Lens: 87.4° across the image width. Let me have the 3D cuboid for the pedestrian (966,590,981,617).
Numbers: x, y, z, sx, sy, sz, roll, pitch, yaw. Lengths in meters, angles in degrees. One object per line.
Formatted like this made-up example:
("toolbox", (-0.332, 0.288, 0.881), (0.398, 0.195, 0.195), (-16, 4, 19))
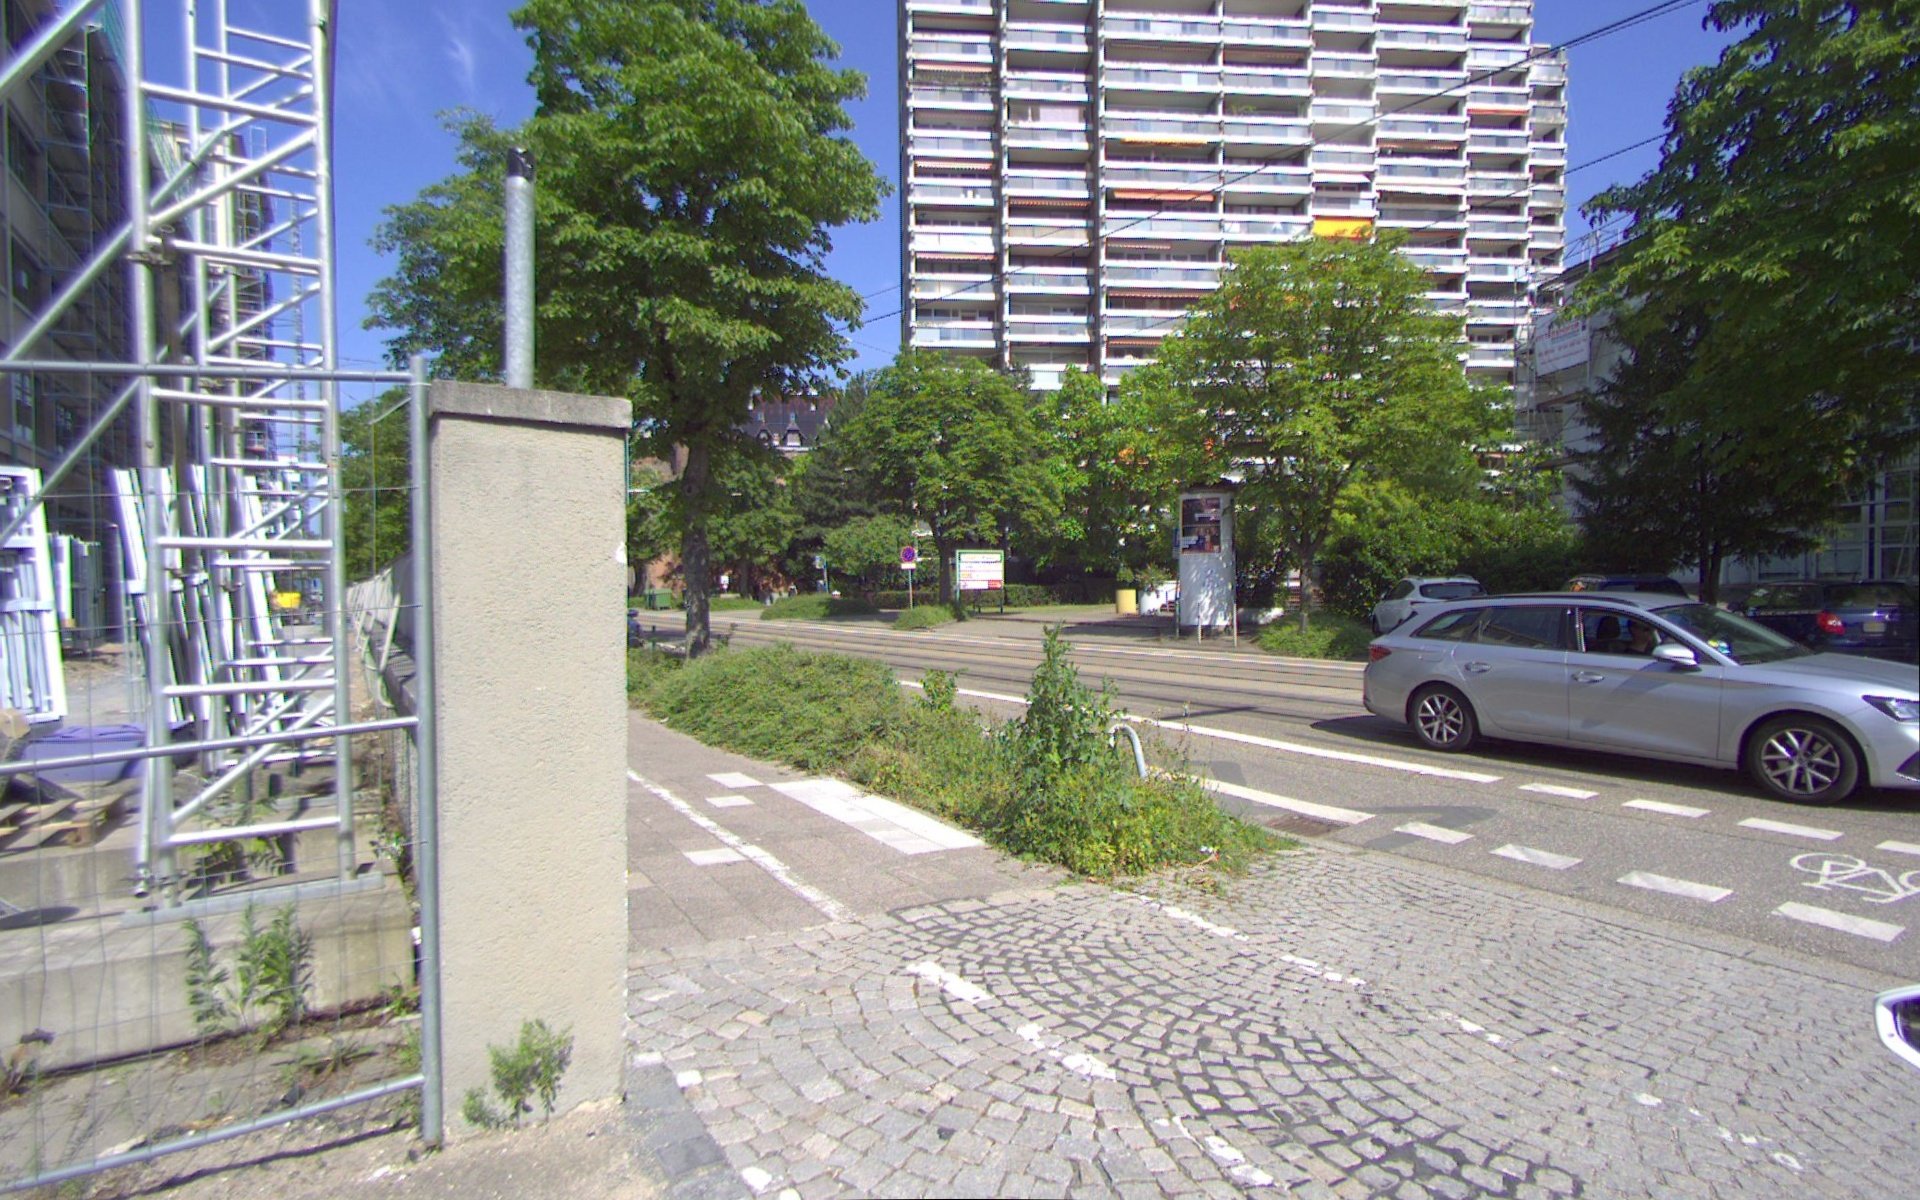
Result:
("pedestrian", (0.605, 0.136, 44.608), (0.525, 1.170, 0.700), (-1, 1, -10))

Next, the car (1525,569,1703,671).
("car", (12.070, 0.293, 18.833), (1.745, 1.644, 3.945), (-1, 2, 17))

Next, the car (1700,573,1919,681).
("car", (13.710, 0.365, 16.220), (1.544, 1.551, 3.460), (0, 1, 12))

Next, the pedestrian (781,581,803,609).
("pedestrian", (-10.788, -0.322, 64.532), (1.047, 1.822, 1.255), (1, 1, -28))

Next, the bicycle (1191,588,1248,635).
("bicycle", (7.477, 0.306, 28.949), (0.542, 1.326, 1.604), (-1, 1, -37))

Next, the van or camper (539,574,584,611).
("van or camper", (-29.723, -0.579, 74.812), (2.028, 2.655, 5.808), (-1, 1, -33))

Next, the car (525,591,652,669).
("car", (-8.131, 0.566, 21.769), (1.801, 1.514, 4.071), (-1, 1, -32))

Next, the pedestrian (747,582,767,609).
("pedestrian", (-14.008, -0.312, 69.258), (1.047, 1.822, 1.255), (1, 1, -29))

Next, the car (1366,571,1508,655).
("car", (10.128, 0.226, 21.639), (1.783, 1.628, 3.947), (0, 1, 10))

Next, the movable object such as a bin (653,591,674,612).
("movable object such as a bin", (-20.935, 0.091, 70.876), (1.249, 1.473, 1.072), (0, 1, -27))

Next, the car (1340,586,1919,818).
("car", (5.775, 0.627, 8.560), (1.872, 1.427, 4.552), (-2, 2, -33))

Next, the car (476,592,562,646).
("car", (-13.240, 0.511, 30.030), (1.801, 1.473, 3.965), (-1, 1, -32))
